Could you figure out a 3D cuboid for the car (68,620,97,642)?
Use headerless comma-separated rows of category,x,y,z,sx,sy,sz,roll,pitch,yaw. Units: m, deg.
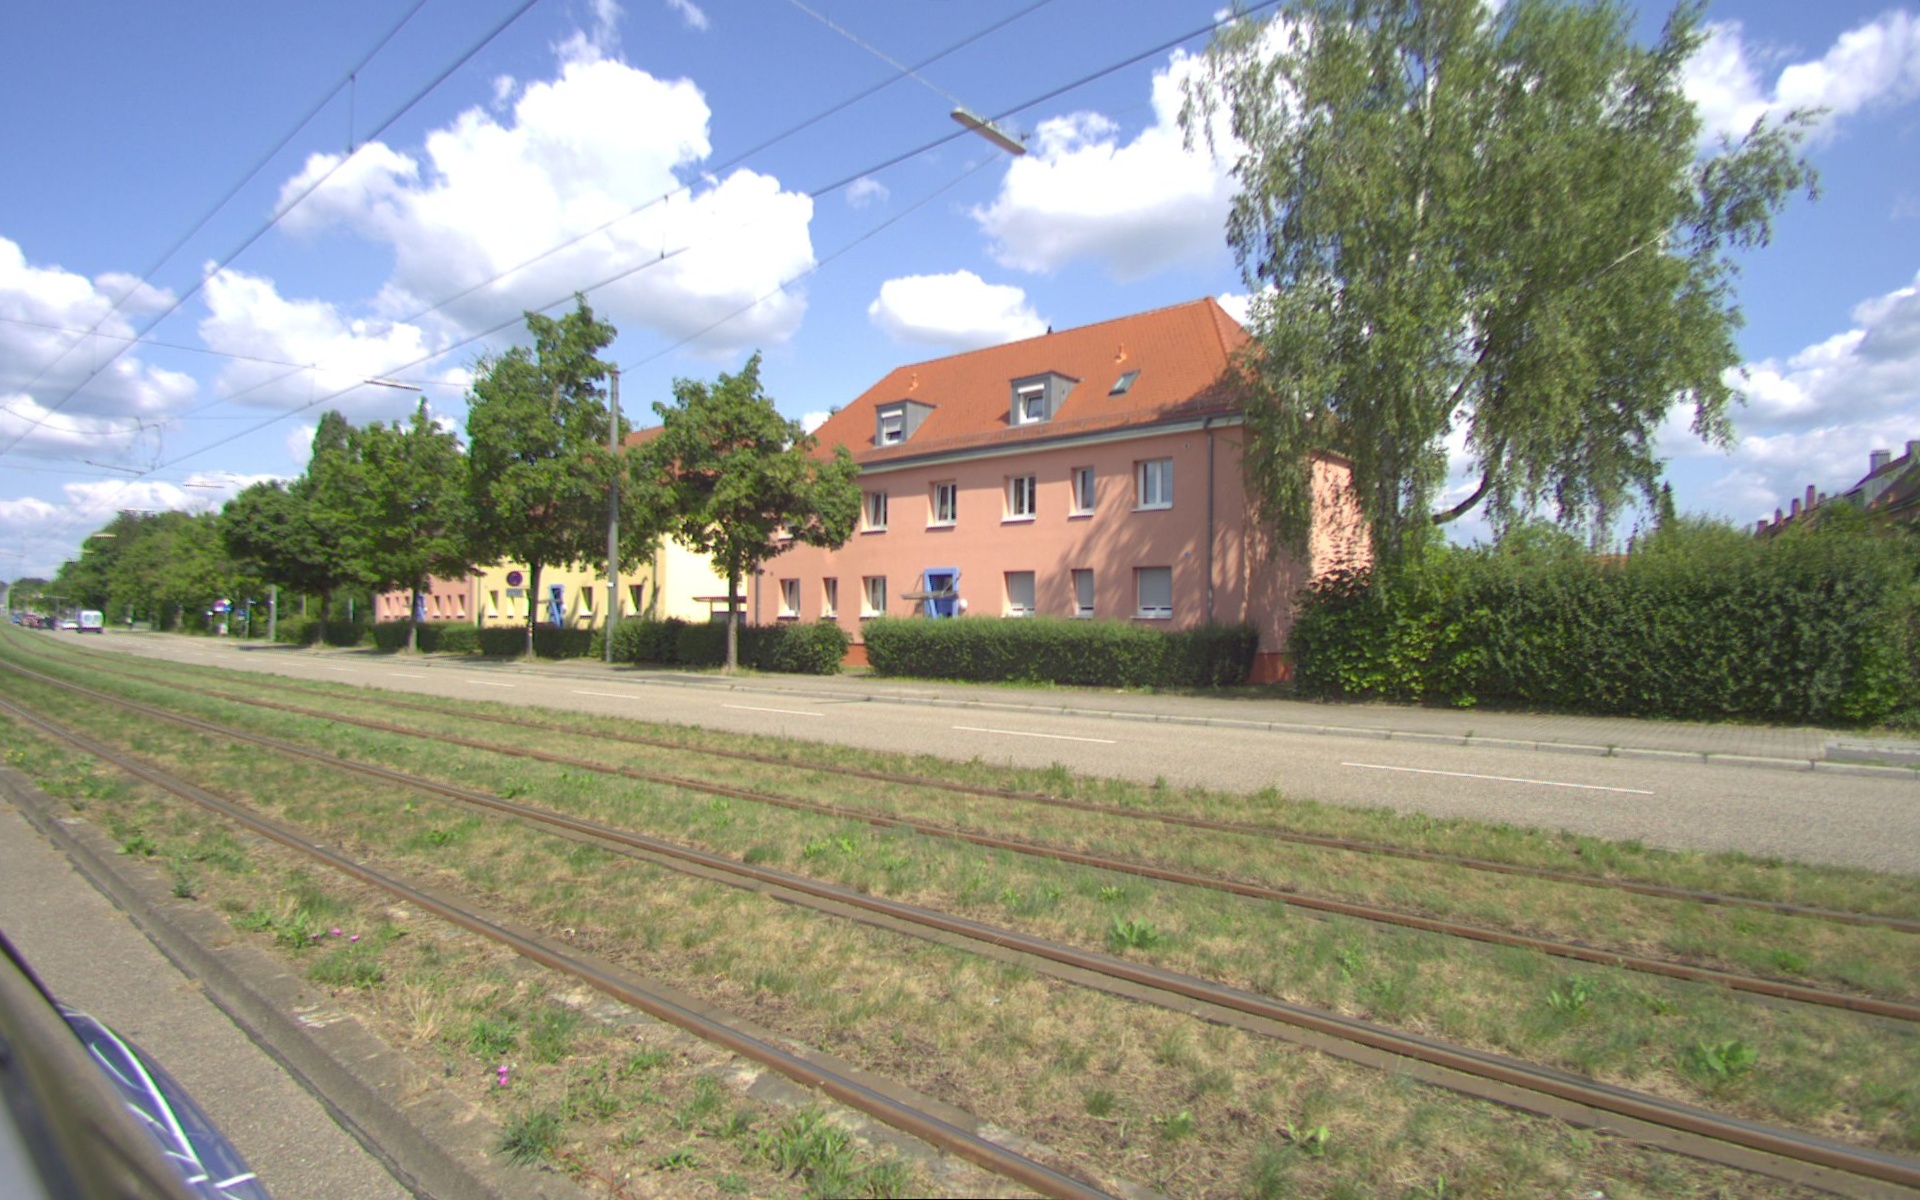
car,-99.572,3.524,114.828,2.009,2.455,5.781,4,-4,-45

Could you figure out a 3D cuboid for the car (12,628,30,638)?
car,-157.663,5.508,169.887,2.091,1.664,4.280,1,-2,-44

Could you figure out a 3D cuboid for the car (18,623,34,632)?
car,-143.729,4.249,155.772,1.707,1.405,4.280,1,-2,-44

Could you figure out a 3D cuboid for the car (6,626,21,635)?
car,-178.007,5.664,190.338,2.091,1.664,4.280,1,-2,-44

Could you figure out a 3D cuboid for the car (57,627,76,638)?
car,-122.620,4.466,138.887,1.666,1.442,4.279,1,-2,-45

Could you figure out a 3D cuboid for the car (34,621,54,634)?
car,-120.492,3.607,133.109,1.666,1.760,4.230,1,-2,-45

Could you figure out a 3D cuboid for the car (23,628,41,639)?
car,-136.034,4.864,148.388,4.278,1.591,1.708,-1,-2,44
